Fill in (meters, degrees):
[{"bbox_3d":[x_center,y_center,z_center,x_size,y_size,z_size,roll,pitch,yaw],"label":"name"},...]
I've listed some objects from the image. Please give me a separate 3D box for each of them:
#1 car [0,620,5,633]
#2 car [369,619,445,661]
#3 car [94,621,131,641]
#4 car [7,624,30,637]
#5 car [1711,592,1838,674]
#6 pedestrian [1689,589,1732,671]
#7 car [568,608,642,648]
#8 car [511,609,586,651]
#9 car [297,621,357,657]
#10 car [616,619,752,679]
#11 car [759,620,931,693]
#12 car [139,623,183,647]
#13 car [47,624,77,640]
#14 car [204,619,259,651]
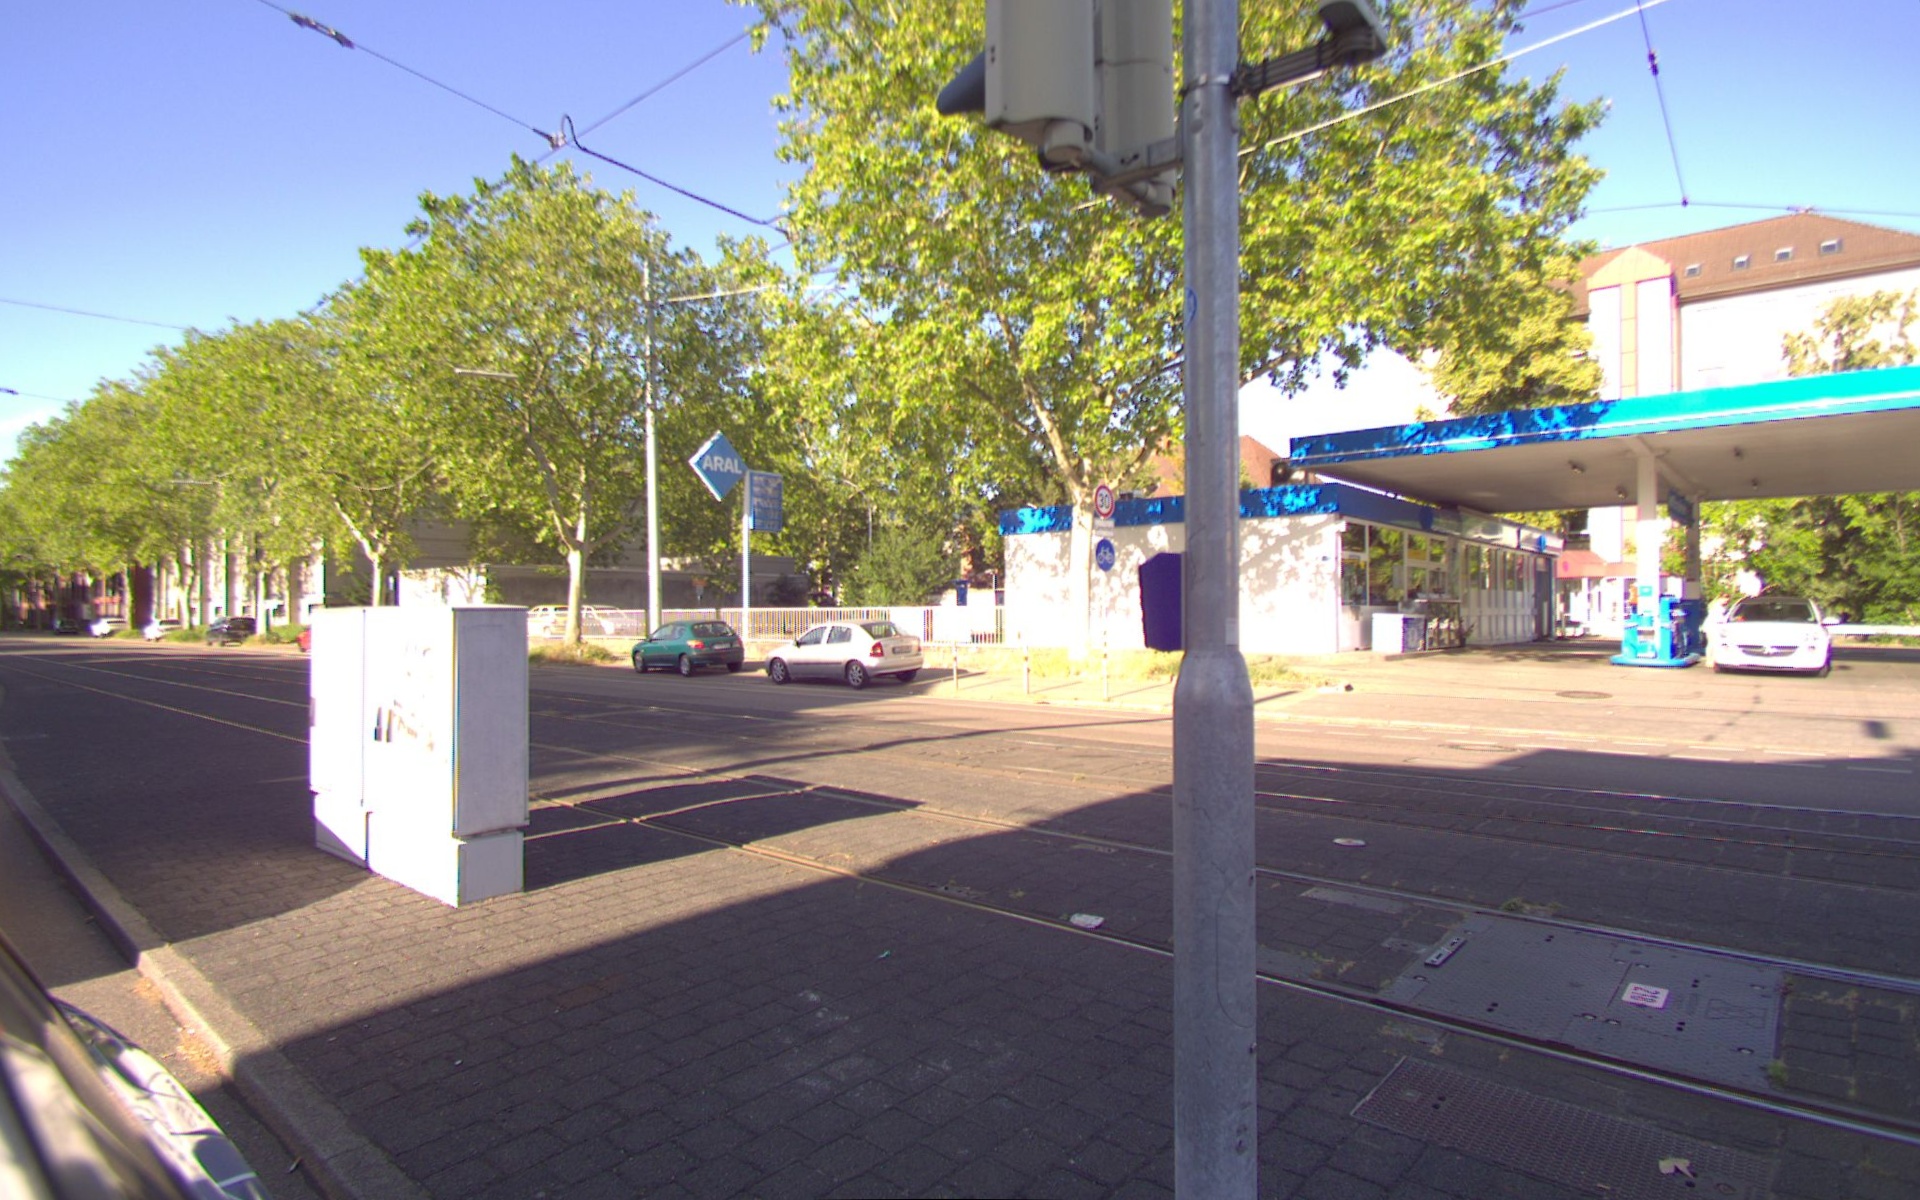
[{"bbox_3d":[-133.919,3.690,140.465,3.748,1.798,1.674,-1,1,41],"label":"car"},{"bbox_3d":[-21.866,1.560,39.996,3.303,1.519,1.579,-1,1,41],"label":"car"},{"bbox_3d":[-66.667,2.453,79.600,3.748,1.459,1.674,-1,1,41],"label":"car"},{"bbox_3d":[-112.128,3.573,120.498,3.748,1.459,1.674,-1,1,41],"label":"car"},{"bbox_3d":[15.897,0.610,19.690,1.757,1.453,3.521,-1,-1,41],"label":"car"},{"bbox_3d":[16.015,0.641,21.606,0.493,1.714,0.649,1,-2,-45],"label":"pedestrian"},{"bbox_3d":[-15.255,1.197,43.441,3.303,1.604,1.579,-1,0,41],"label":"car"},{"bbox_3d":[-17.074,1.233,41.964,3.303,1.628,1.579,-1,0,41],"label":"car"},{"bbox_3d":[-28.675,1.759,45.824,2.621,1.519,1.579,-1,1,41],"label":"car"},{"bbox_3d":[-7.390,1.267,26.965,3.748,1.413,1.674,-1,1,41],"label":"car"},{"bbox_3d":[-2.626,1.206,22.637,3.812,1.413,1.674,-1,1,41],"label":"car"},{"bbox_3d":[-53.850,2.348,68.172,3.748,1.459,1.674,-1,1,41],"label":"car"},{"bbox_3d":[-85.228,3.038,96.037,3.748,1.459,1.674,-1,1,41],"label":"car"},{"bbox_3d":[-40.665,1.944,56.447,3.748,1.670,1.674,-1,1,41],"label":"car"}]
